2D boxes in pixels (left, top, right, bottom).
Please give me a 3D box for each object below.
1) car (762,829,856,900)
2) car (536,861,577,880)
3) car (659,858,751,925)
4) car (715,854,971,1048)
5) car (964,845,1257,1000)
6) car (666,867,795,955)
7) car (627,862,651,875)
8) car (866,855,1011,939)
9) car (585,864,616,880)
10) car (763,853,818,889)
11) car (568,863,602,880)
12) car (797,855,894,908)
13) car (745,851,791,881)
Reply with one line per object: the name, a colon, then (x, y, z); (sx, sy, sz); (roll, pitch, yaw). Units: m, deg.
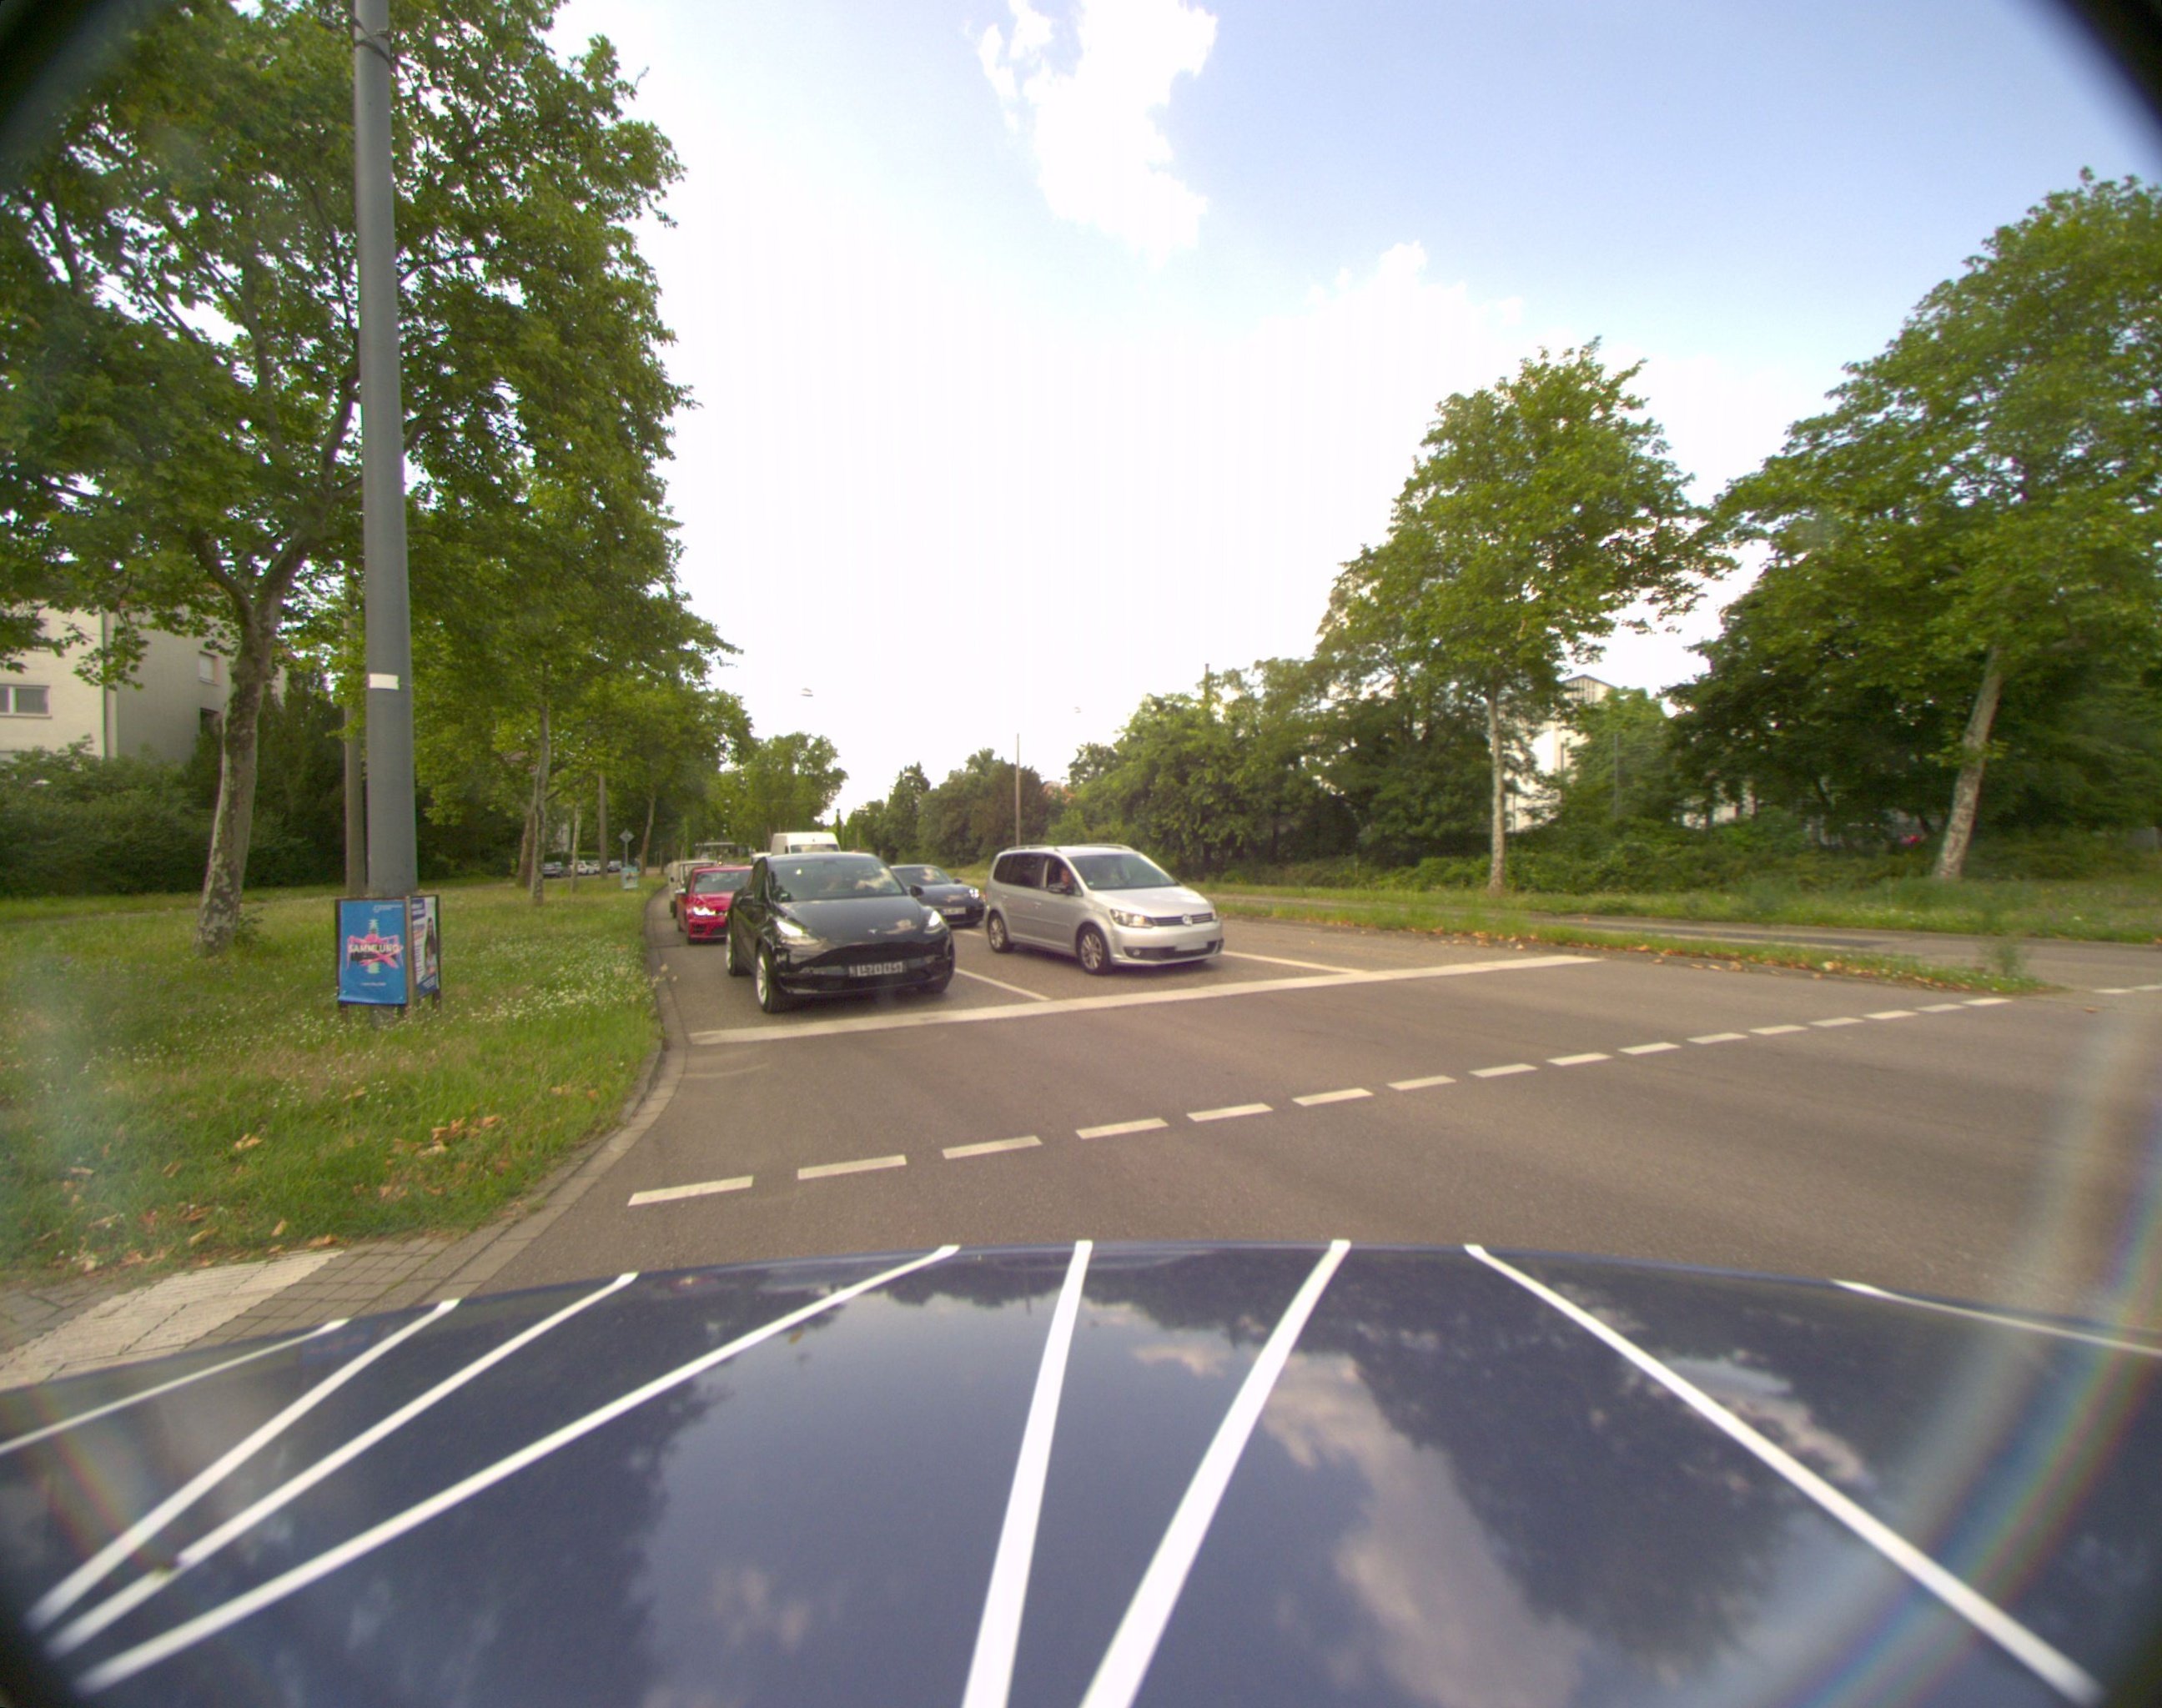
car: (-10.997, 0.356, 30.354); (2.231, 2.516, 5.918); (-3, 2, -32)
car: (-45.909, 1.471, 66.569); (1.778, 1.586, 3.652); (-1, -1, -16)
car: (-10.601, 0.953, 21.251); (1.805, 1.561, 4.491); (-3, 2, -32)
car: (-3.122, 0.858, 9.169); (1.934, 1.643, 4.568); (-3, 2, -30)
car: (0.161, 0.752, 10.812); (1.934, 1.643, 4.490); (-3, 2, -32)
car: (-7.321, 1.030, 15.626); (1.805, 1.383, 4.491); (-3, 2, -32)
car: (-56.431, 1.852, 97.127); (1.778, 1.586, 3.652); (-1, -1, -16)
car: (-3.217, 0.821, 16.552); (1.807, 1.499, 3.990); (-3, 2, -30)
car: (-50.115, 1.894, 79.313); (1.778, 1.586, 3.652); (-1, -1, -16)
car: (-14.324, 0.790, 37.320); (1.847, 1.609, 4.146); (-2, 1, -30)
car: (-49.061, 1.766, 75.219); (1.778, 1.586, 3.652); (-1, -1, -16)
car: (-7.304, 0.762, 23.306); (1.767, 1.367, 4.332); (-3, 2, -32)
car: (-18.290, 0.660, 44.284); (1.768, 1.637, 4.332); (-1, 1, -32)
